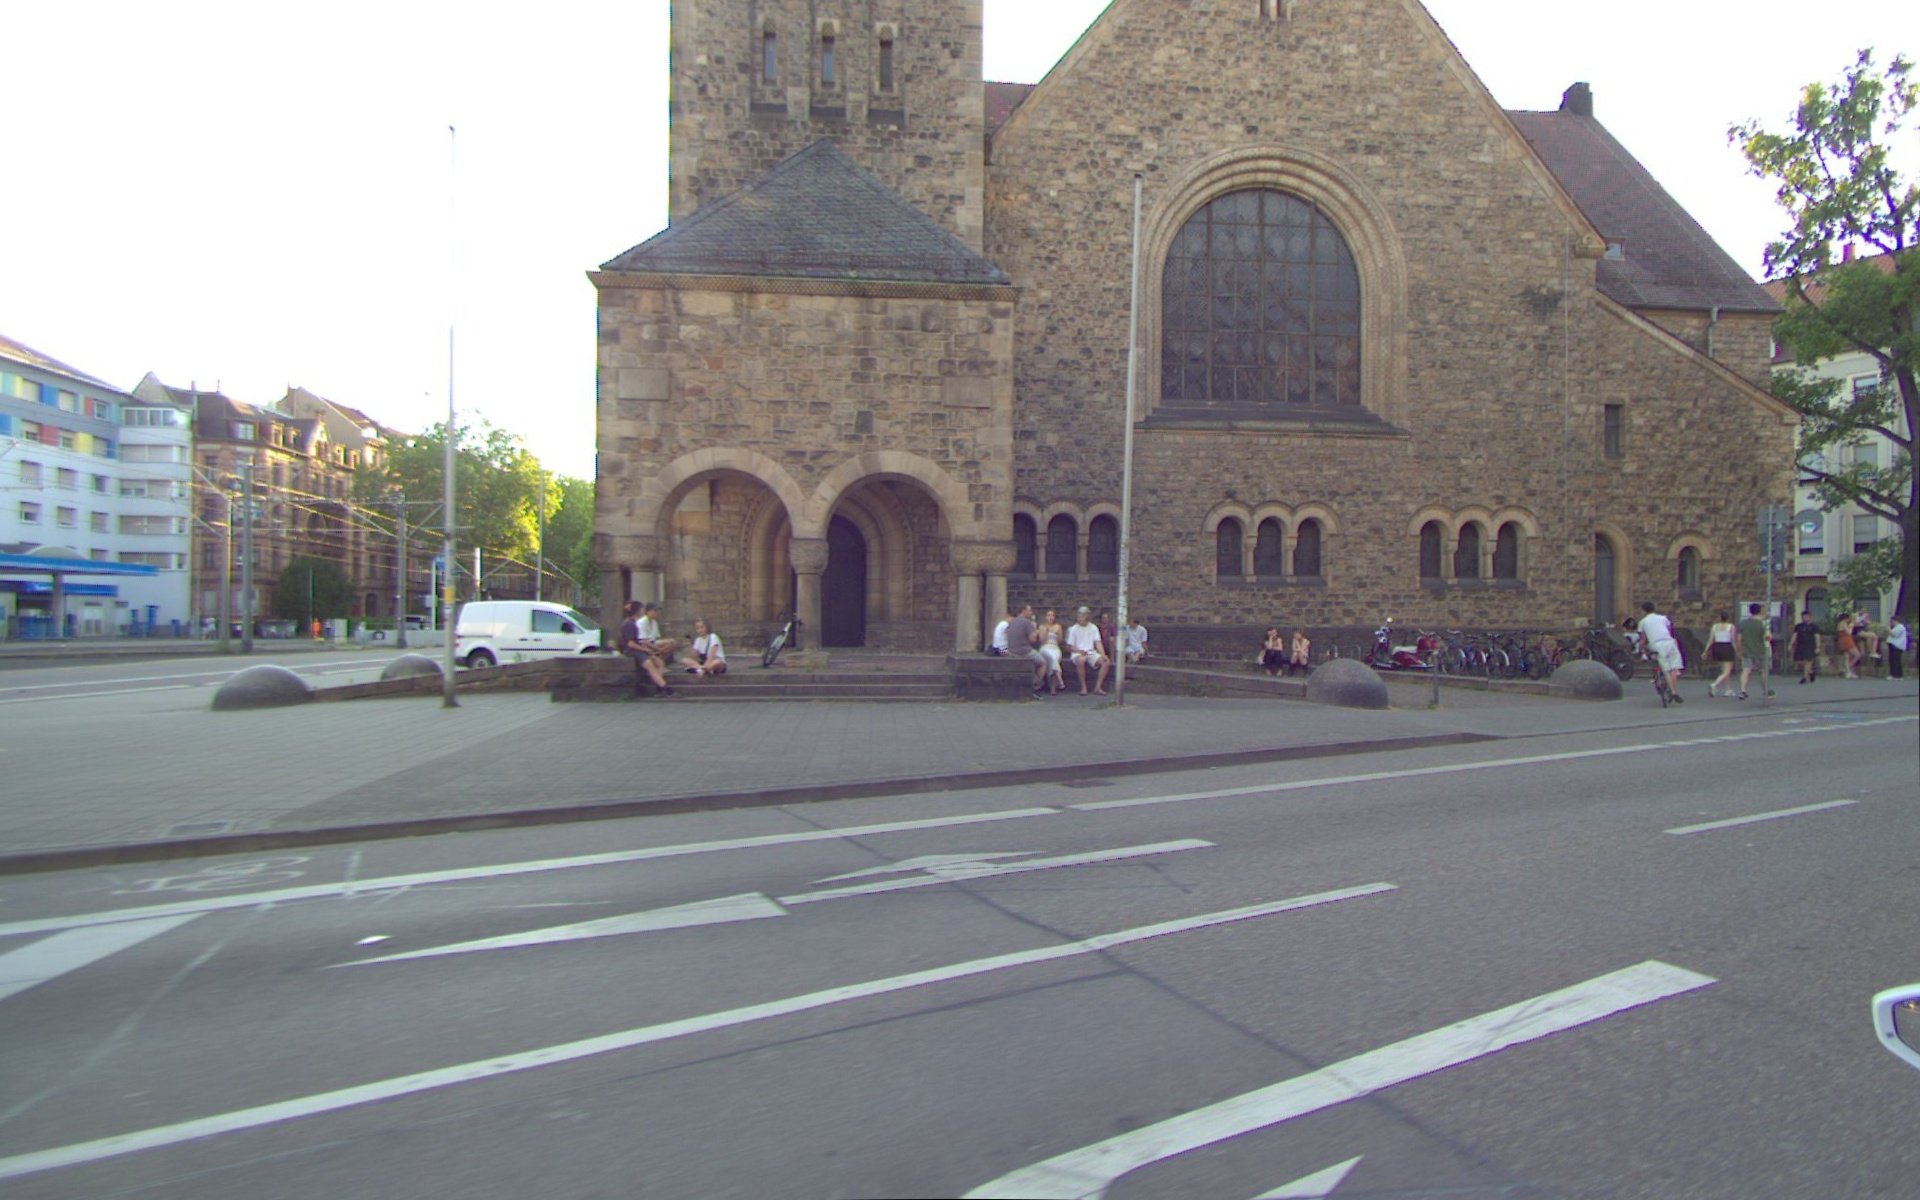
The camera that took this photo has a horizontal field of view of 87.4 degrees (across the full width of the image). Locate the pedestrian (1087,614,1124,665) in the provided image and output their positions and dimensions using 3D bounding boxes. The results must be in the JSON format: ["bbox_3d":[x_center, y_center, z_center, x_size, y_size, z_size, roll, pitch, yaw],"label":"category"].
[{"bbox_3d":[3.216,0.865,22.204,0.635,1.090,0.830,0,-1,21],"label":"pedestrian"}]

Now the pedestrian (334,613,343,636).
[{"bbox_3d":[-49.625,1.947,80.213,0.446,1.850,0.550,1,-1,-22],"label":"pedestrian"}]

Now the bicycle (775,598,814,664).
[{"bbox_3d":[-2.912,0.533,17.514,0.584,1.071,2.281,1,-1,-11],"label":"bicycle"}]

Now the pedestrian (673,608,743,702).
[{"bbox_3d":[-3.829,0.825,15.326,0.686,1.393,0.803,0,-1,22],"label":"pedestrian"}]

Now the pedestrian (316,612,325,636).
[{"bbox_3d":[-50.850,1.896,79.873,0.446,1.850,0.550,1,-1,-22],"label":"pedestrian"}]

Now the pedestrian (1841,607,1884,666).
[{"bbox_3d":[24.337,0.990,27.089,0.574,1.566,0.652,1,-1,-6],"label":"pedestrian"}]

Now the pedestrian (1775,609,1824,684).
[{"bbox_3d":[20.057,1.094,24.003,0.683,1.748,0.711,1,-1,-29],"label":"pedestrian"}]

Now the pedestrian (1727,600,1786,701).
[{"bbox_3d":[15.453,0.964,19.486,0.881,1.904,0.643,1,-1,-33],"label":"pedestrian"}]

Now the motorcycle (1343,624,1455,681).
[{"bbox_3d":[9.982,1.171,22.969,0.811,1.141,2.407,1,1,-25],"label":"motorcycle"}]

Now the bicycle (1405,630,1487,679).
[{"bbox_3d":[11.451,1.268,23.729,0.576,1.002,2.002,1,2,-14],"label":"bicycle"}]

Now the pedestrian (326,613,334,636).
[{"bbox_3d":[-50.359,1.942,80.269,0.446,1.850,0.550,1,-1,-22],"label":"pedestrian"}]

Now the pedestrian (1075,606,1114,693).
[{"bbox_3d":[2.232,0.817,16.747,0.619,1.425,0.704,0,-1,5],"label":"pedestrian"}]

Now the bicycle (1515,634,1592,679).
[{"bbox_3d":[14.141,1.334,23.996,0.364,1.002,1.879,1,-1,-14],"label":"bicycle"}]

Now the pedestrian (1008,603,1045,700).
[{"bbox_3d":[1.034,0.788,15.616,0.546,1.472,0.551,0,-1,5],"label":"pedestrian"}]

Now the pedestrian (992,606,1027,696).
[{"bbox_3d":[0.795,0.810,16.196,0.537,1.425,0.402,0,-1,5],"label":"pedestrian"}]

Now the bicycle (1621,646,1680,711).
[{"bbox_3d":[12.669,1.413,18.465,0.543,1.026,2.186,1,0,26],"label":"bicycle"}]

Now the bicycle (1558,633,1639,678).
[{"bbox_3d":[15.355,1.319,24.205,0.434,1.002,1.879,1,-1,-14],"label":"bicycle"}]

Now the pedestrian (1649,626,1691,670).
[{"bbox_3d":[17.468,1.180,24.721,0.688,1.070,0.516,1,-1,-13],"label":"pedestrian"}]

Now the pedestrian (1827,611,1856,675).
[{"bbox_3d":[23.569,1.137,26.861,0.407,1.697,0.548,0,-1,21],"label":"pedestrian"}]

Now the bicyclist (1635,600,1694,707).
[{"bbox_3d":[12.951,0.956,18.498,0.694,1.905,0.941,1,0,25],"label":"bicyclist"}]

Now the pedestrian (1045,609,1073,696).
[{"bbox_3d":[1.650,0.861,16.733,0.449,1.425,0.548,0,-1,5],"label":"pedestrian"}]

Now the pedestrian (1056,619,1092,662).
[{"bbox_3d":[2.522,0.892,22.223,0.635,0.928,0.740,0,-1,21],"label":"pedestrian"}]

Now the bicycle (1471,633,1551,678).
[{"bbox_3d":[13.134,1.310,24.000,0.458,1.002,1.985,1,-1,-14],"label":"bicycle"}]

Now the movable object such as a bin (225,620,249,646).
[{"bbox_3d":[-56.354,2.561,78.298,1.478,2.040,1.347,1,-1,-34],"label":"movable object such as a bin"}]

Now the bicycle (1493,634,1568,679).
[{"bbox_3d":[13.604,1.326,24.021,0.364,1.002,1.879,1,-1,-14],"label":"bicycle"}]

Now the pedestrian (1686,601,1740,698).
[{"bbox_3d":[14.988,0.978,19.992,0.978,1.881,0.569,1,-1,-33],"label":"pedestrian"}]

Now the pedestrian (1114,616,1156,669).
[{"bbox_3d":[3.817,0.911,21.863,0.672,1.109,1.333,0,-1,21],"label":"pedestrian"}]

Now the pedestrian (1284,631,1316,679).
[{"bbox_3d":[7.263,1.161,21.469,0.551,1.005,0.695,0,-1,27],"label":"pedestrian"}]

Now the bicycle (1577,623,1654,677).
[{"bbox_3d":[15.819,1.187,24.292,0.430,1.265,1.728,1,-1,-15],"label":"bicycle"}]

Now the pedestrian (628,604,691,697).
[{"bbox_3d":[-4.630,0.763,15.518,0.685,1.393,0.804,0,-1,4],"label":"pedestrian"}]

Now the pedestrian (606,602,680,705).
[{"bbox_3d":[-4.645,0.776,14.761,0.897,1.473,0.630,0,-1,-3],"label":"pedestrian"}]

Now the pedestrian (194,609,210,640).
[{"bbox_3d":[-51.016,1.664,67.620,0.547,2.040,0.608,0,-1,-4],"label":"pedestrian"}]

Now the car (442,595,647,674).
[{"bbox_3d":[-10.098,0.845,24.644,4.321,1.832,1.584,1,-1,-4],"label":"car"}]

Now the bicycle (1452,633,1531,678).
[{"bbox_3d":[12.601,1.308,23.891,0.458,1.002,2.003,1,-1,-14],"label":"bicycle"}]

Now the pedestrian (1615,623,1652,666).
[{"bbox_3d":[16.959,1.117,25.309,0.596,1.062,0.498,1,-1,-9],"label":"pedestrian"}]

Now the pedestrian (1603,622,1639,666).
[{"bbox_3d":[16.369,1.090,24.893,0.726,1.062,0.519,0,-1,31],"label":"pedestrian"}]

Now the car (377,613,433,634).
[{"bbox_3d":[-55.451,2.380,100.442,4.409,2.040,1.998,0,-1,-7],"label":"car"}]

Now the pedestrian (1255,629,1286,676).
[{"bbox_3d":[6.711,1.121,21.693,0.551,0.980,0.649,0,-1,27],"label":"pedestrian"}]

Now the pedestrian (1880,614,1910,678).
[{"bbox_3d":[24.418,1.191,26.239,0.407,1.643,0.548,0,-1,21],"label":"pedestrian"}]

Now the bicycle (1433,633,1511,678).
[{"bbox_3d":[12.103,1.301,23.819,0.458,1.002,2.003,1,-1,-14],"label":"bicycle"}]
